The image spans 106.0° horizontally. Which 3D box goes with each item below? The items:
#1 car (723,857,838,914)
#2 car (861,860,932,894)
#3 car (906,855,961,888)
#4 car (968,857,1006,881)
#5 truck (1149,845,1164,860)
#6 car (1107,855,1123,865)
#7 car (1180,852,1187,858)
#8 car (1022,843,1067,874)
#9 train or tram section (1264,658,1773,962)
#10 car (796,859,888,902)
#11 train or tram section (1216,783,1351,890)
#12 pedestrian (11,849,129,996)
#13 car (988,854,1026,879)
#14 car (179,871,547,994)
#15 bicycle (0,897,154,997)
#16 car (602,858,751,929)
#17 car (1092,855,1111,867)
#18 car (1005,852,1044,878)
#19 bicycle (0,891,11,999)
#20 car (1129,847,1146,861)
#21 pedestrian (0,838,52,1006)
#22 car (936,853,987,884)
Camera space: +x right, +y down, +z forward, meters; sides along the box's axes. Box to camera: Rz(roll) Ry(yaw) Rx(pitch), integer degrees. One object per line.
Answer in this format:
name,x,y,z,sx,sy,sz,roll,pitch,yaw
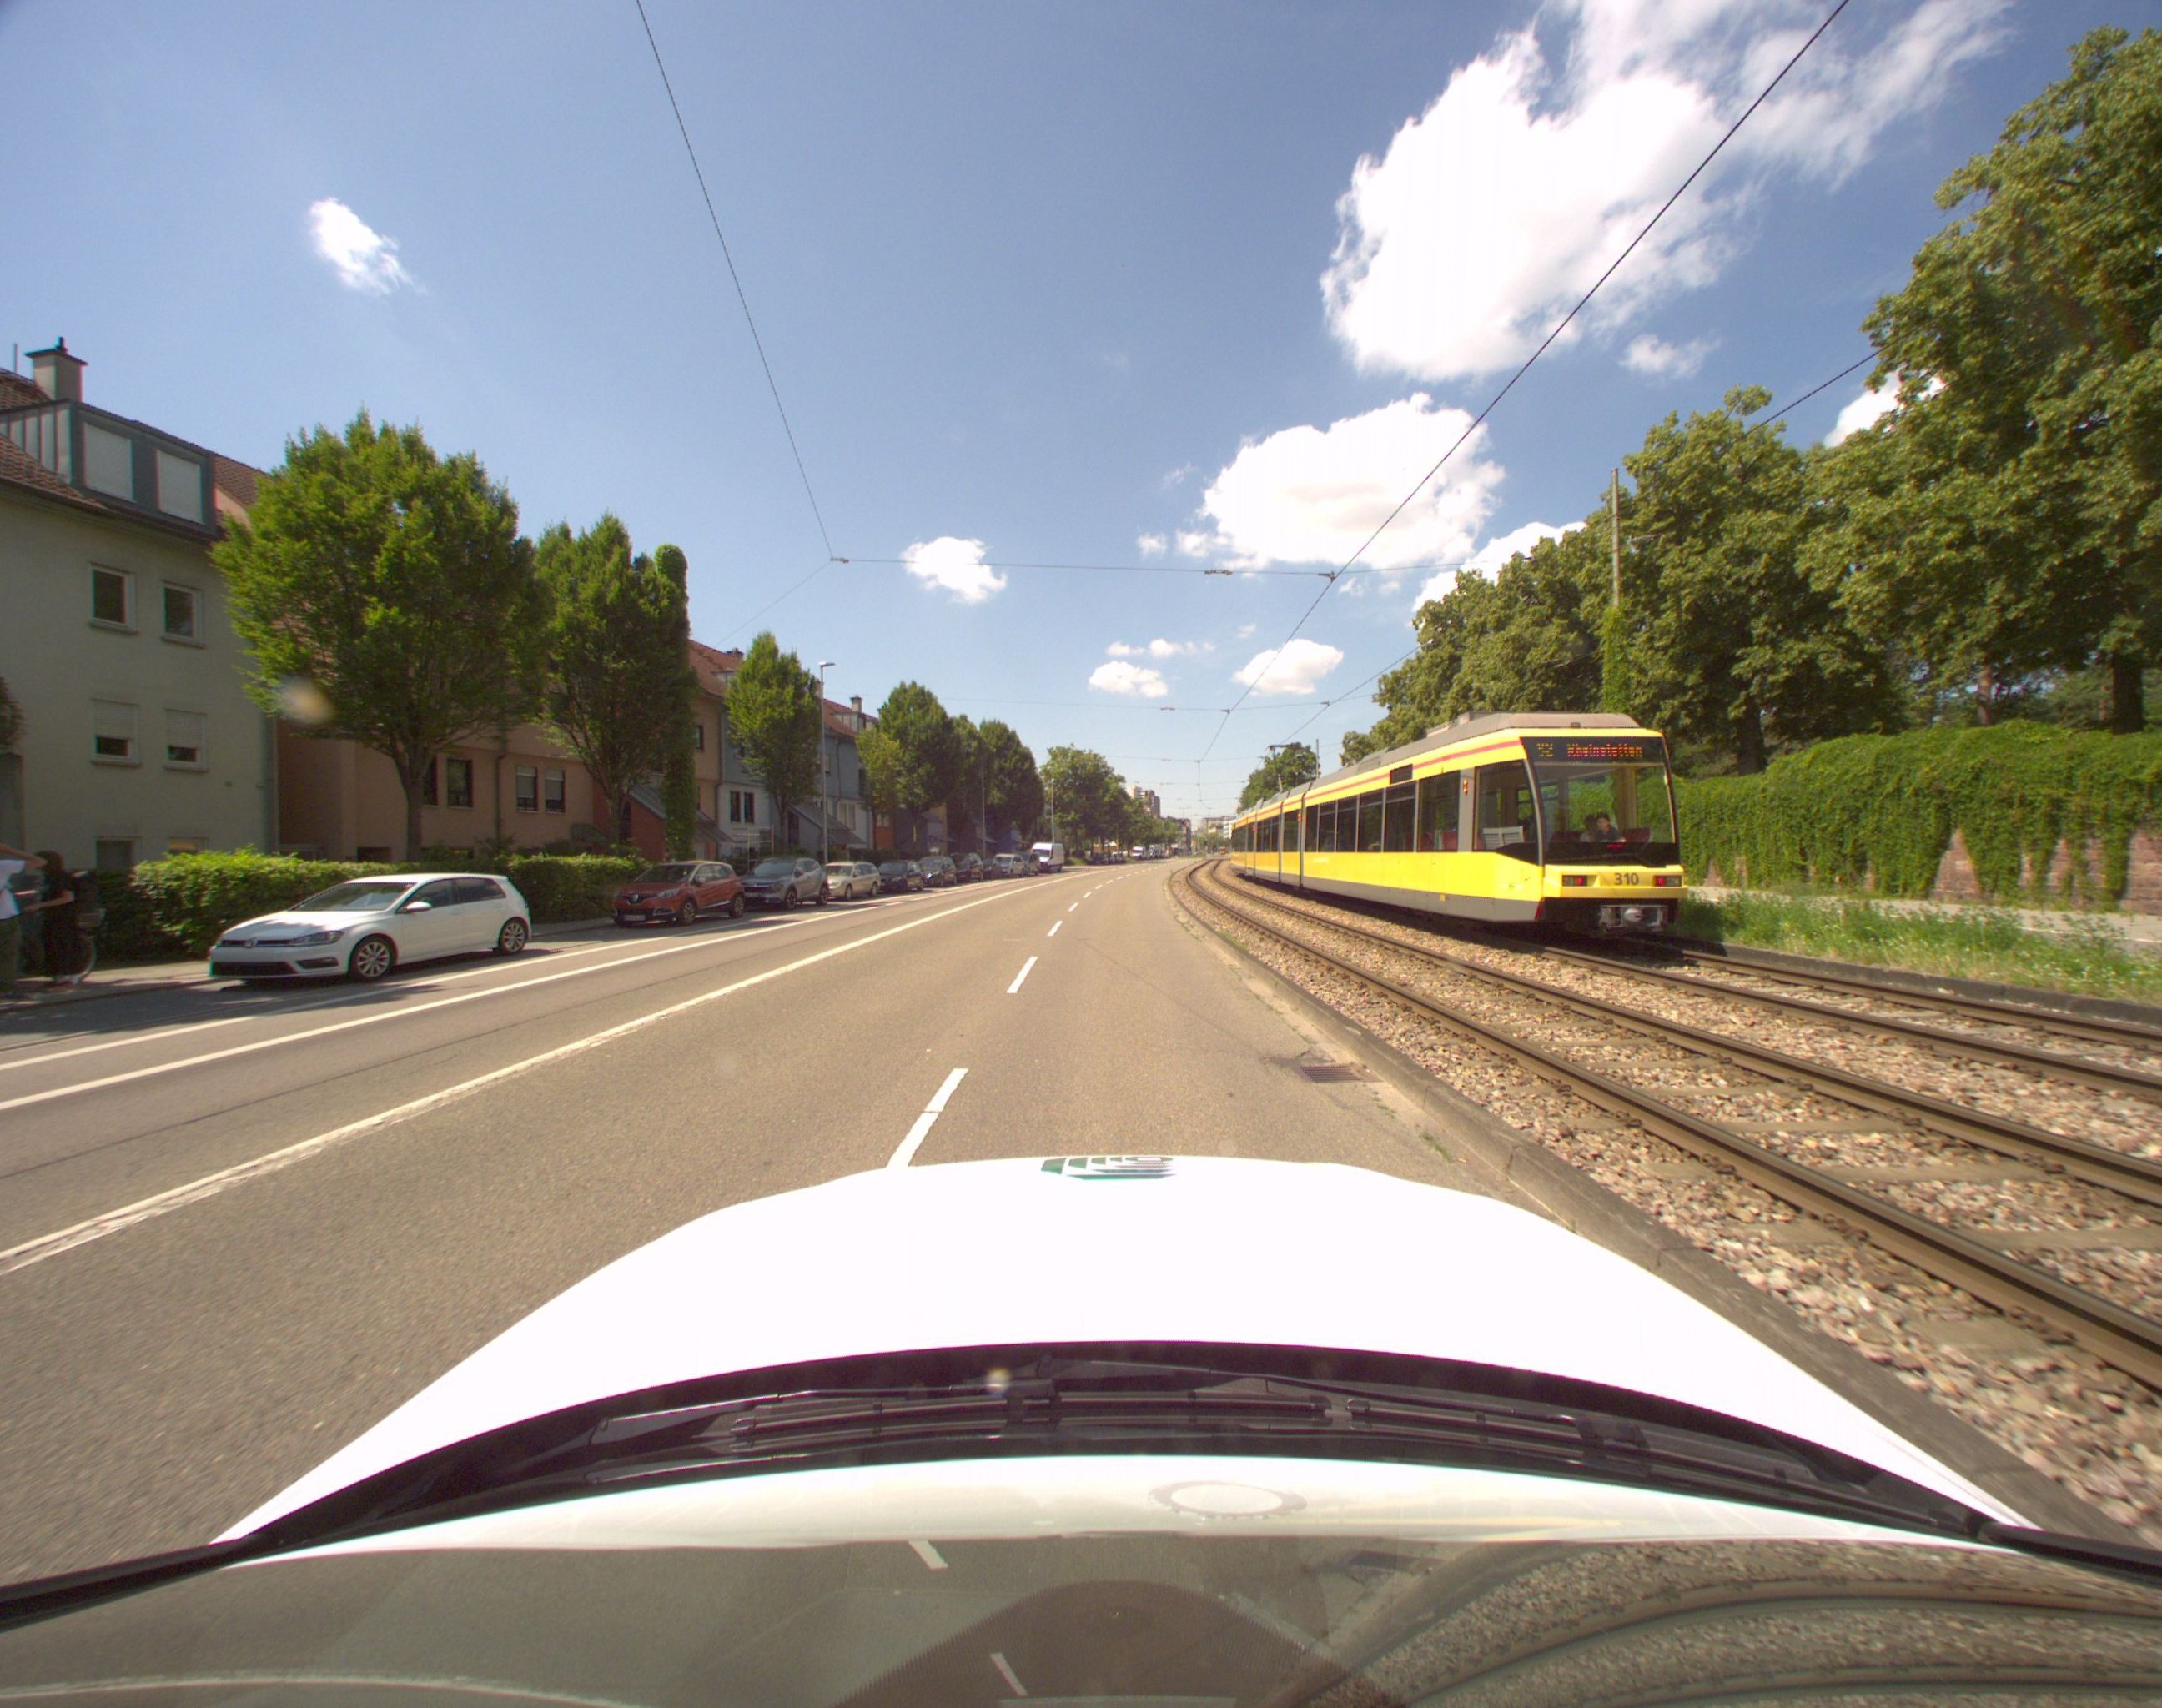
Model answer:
car,-9.688,0.951,26.703,1.648,1.609,4.694,1,0,5
car,-8.606,1.039,38.453,1.733,1.446,4.972,0,0,6
car,-7.952,0.901,44.270,1.646,1.617,4.294,-2,0,7
car,-6.327,0.979,55.290,1.590,1.471,4.096,-2,0,7
truck,16.594,-0.407,178.942,2.142,3.210,7.107,2,0,13
car,4.883,0.885,117.312,1.764,1.373,4.709,1,0,9
car,26.772,0.343,212.273,1.764,1.460,4.205,-3,0,9
car,-3.232,0.368,74.075,2.309,2.651,7.057,3,1,11
train or tram section,7.395,-0.559,19.144,2.931,3.692,18.402,0,0,3
car,-9.367,0.992,32.368,1.646,1.508,4.906,-2,0,7
train or tram section,8.710,-0.637,38.434,2.930,3.692,20.310,0,0,5
pedestrian,-13.003,0.845,10.502,0.685,1.795,0.698,-2,0,-25
car,-5.425,0.880,59.991,1.707,1.752,4.914,-2,0,7
car,-10.607,1.051,12.585,1.649,1.411,4.399,-2,0,2
bicycle,-13.463,1.186,10.789,0.455,1.126,1.664,-2,0,-2
car,-10.245,0.932,21.012,1.649,1.609,4.175,-1,0,2
car,2.607,0.918,103.958,1.764,1.455,4.816,-1,0,9
car,-4.495,0.852,65.532,1.795,1.895,5.377,-2,0,10
bicycle,-13.512,1.124,9.236,0.454,1.316,1.667,-2,0,4
car,10.562,-0.064,151.191,2.142,2.487,6.214,2,1,13
pedestrian,-12.687,0.786,9.532,0.635,1.922,0.713,-2,0,33
car,-7.201,0.817,49.382,1.741,1.716,4.898,-2,0,7
